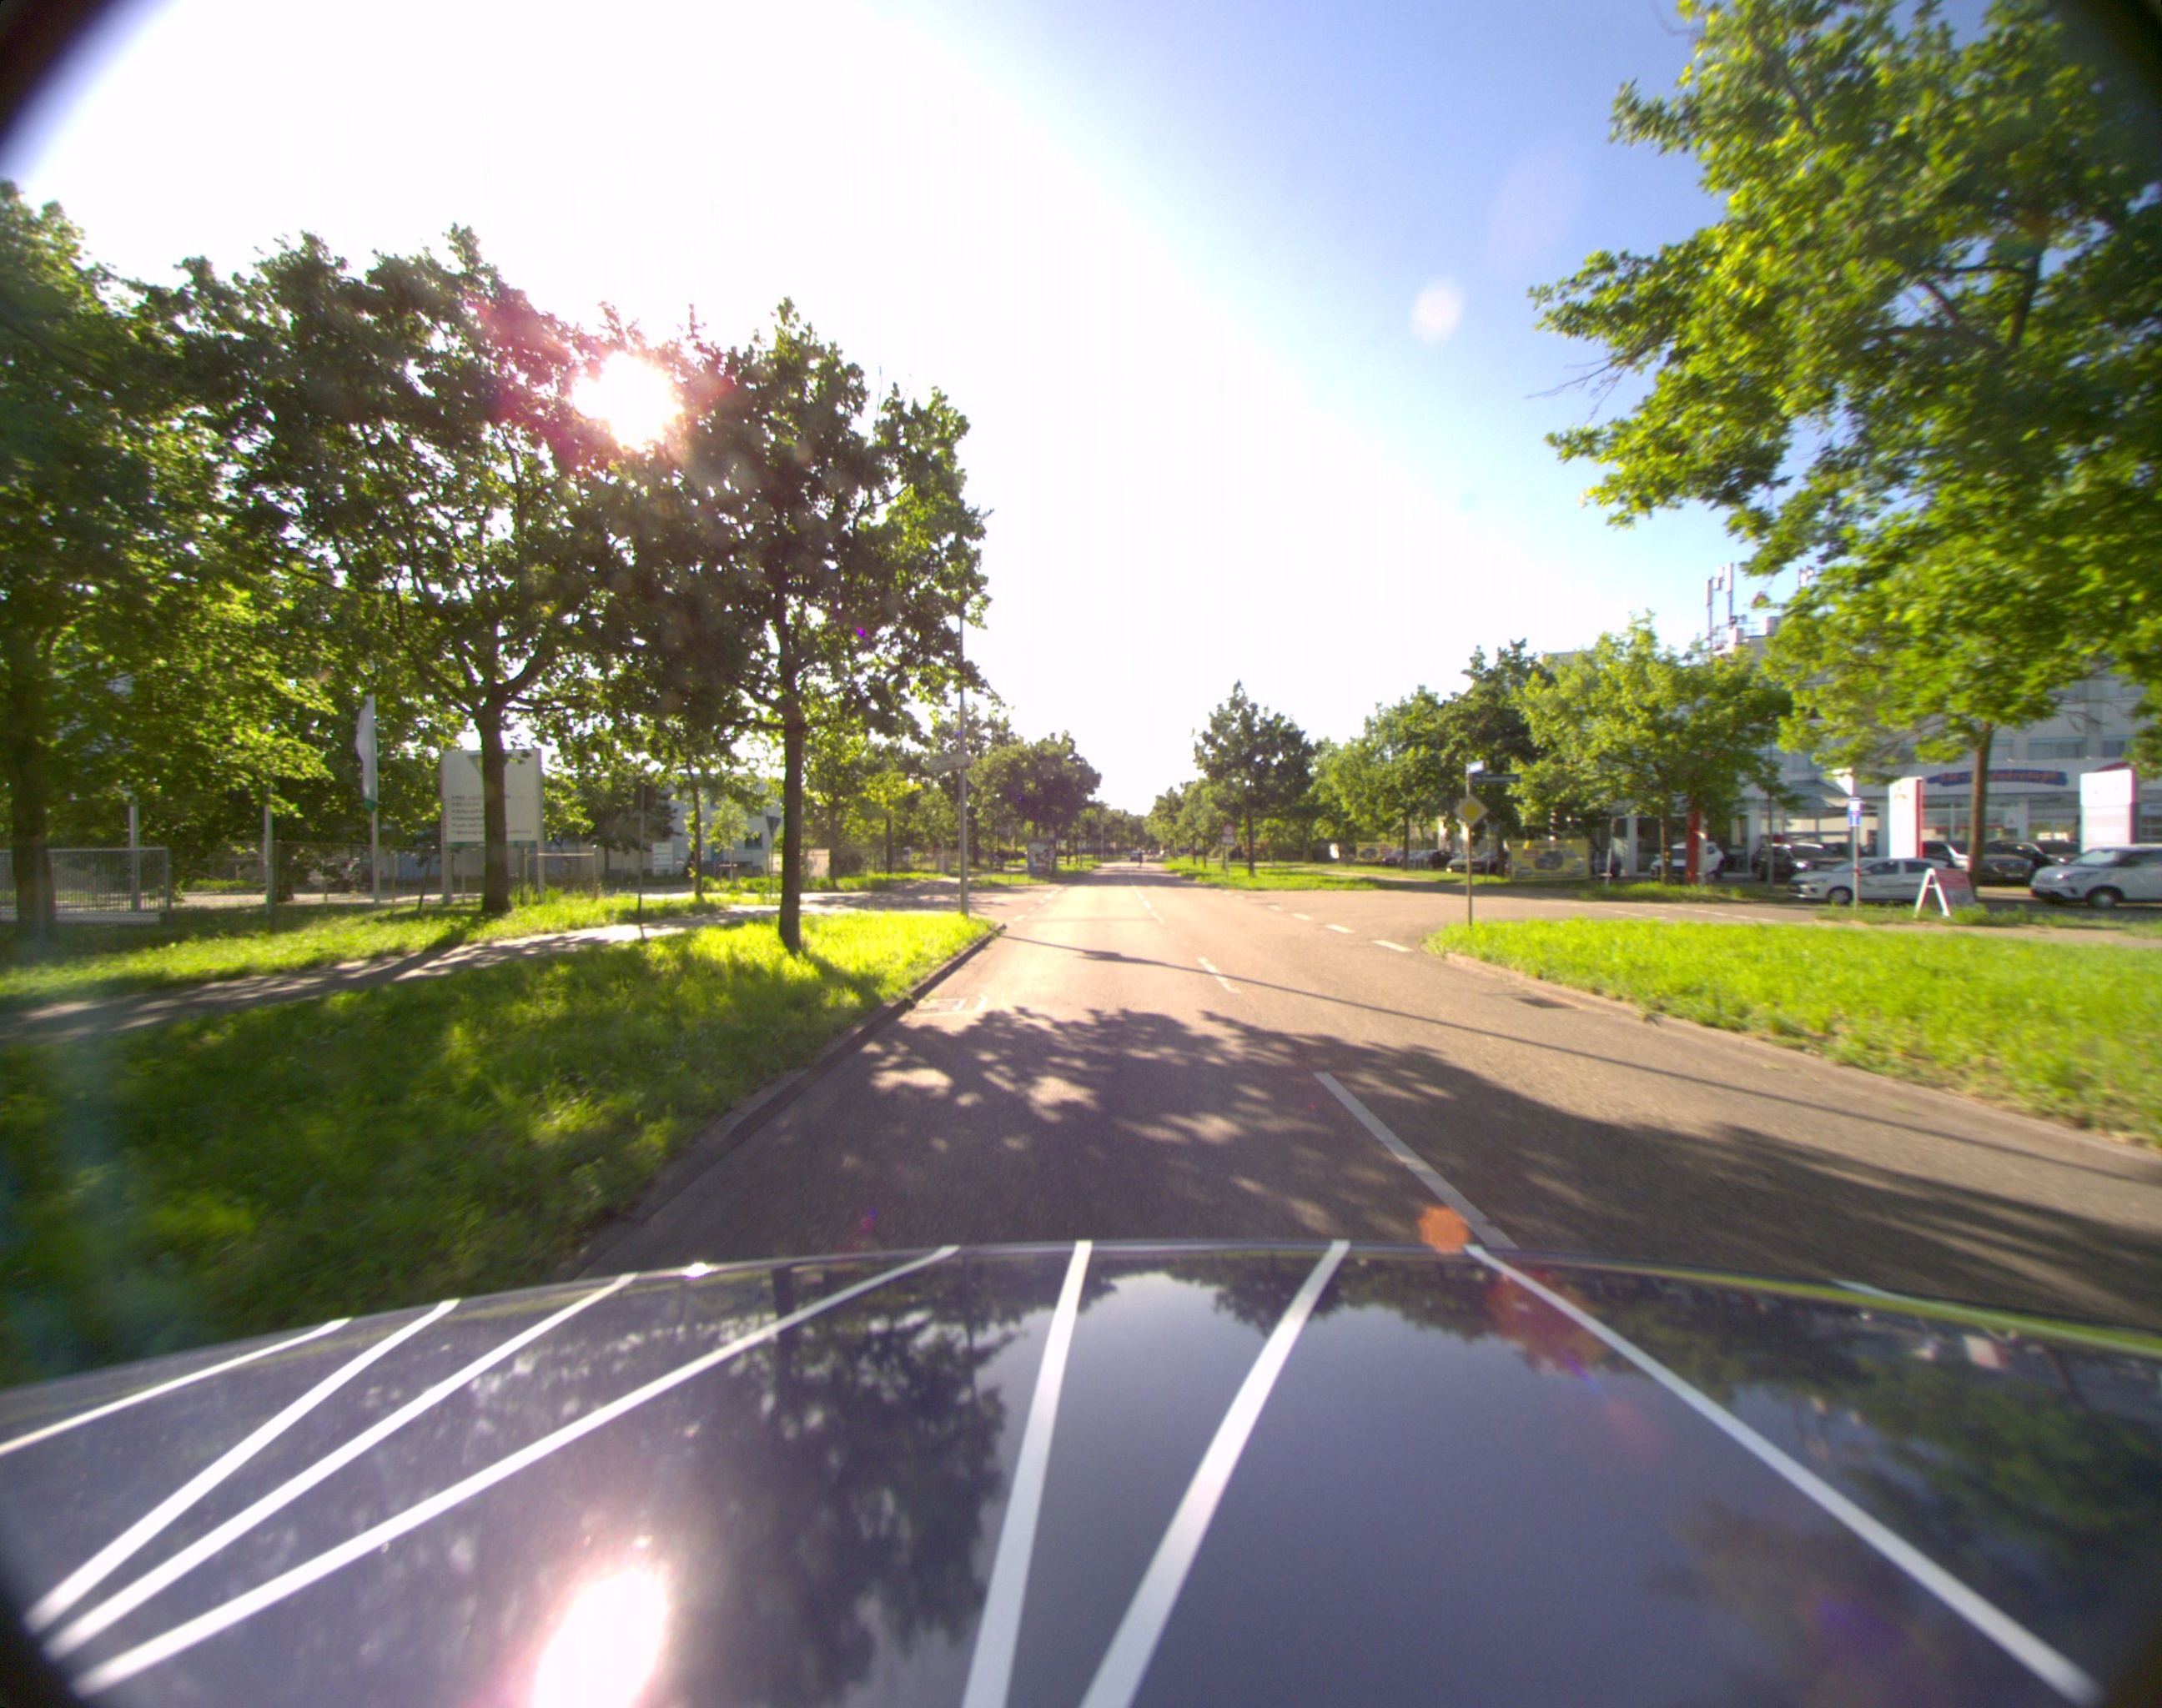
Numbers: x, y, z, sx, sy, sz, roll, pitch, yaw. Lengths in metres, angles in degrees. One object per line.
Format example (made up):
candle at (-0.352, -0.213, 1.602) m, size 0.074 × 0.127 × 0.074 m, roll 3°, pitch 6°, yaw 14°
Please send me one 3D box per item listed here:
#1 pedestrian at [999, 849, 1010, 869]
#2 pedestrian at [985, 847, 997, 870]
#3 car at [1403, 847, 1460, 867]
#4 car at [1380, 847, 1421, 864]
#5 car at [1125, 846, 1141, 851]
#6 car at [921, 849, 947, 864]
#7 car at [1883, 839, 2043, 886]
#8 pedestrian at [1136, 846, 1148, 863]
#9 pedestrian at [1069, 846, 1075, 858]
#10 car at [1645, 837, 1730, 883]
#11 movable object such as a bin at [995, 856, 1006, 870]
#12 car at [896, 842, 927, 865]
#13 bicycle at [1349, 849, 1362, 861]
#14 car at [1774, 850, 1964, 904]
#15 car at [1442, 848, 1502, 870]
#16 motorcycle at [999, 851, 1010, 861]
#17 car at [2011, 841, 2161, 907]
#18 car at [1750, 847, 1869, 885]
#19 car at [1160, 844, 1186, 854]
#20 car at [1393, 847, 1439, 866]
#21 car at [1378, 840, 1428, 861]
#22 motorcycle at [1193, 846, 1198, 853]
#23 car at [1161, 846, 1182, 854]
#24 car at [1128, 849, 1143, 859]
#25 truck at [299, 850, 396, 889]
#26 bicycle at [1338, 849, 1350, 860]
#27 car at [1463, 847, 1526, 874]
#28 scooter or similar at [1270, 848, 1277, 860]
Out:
pedestrian at (-6.085, 0.401, 60.155) m, size 0.727 × 1.594 × 0.867 m, roll 0°, pitch 1°, yaw 4°
pedestrian at (-7.046, 0.361, 59.445) m, size 0.727 × 1.745 × 0.867 m, roll 0°, pitch 1°, yaw 4°
car at (27.202, 0.233, 58.962) m, size 4.005 × 1.502 × 1.797 m, roll -1°, pitch 0°, yaw -25°
car at (27.771, 0.135, 65.955) m, size 4.008 × 1.440 × 1.796 m, roll -1°, pitch 1°, yaw -44°
car at (14.896, -1.511, 219.287) m, size 4.509 × 1.471 × 1.942 m, roll 0°, pitch 1°, yaw 8°
car at (-16.878, 0.299, 87.173) m, size 2.010 × 1.654 × 3.597 m, roll 0°, pitch 1°, yaw 4°
car at (36.933, 0.300, 32.042) m, size 1.996 × 1.802 × 4.877 m, roll 0°, pitch 1°, yaw 15°
pedestrian at (5.875, 0.066, 72.977) m, size 1.022 × 1.642 × 1.099 m, roll 0°, pitch 1°, yaw -4°
pedestrian at (-1.328, -0.254, 114.275) m, size 0.727 × 1.802 × 0.867 m, roll 0°, pitch 2°, yaw 4°
car at (28.253, 0.238, 35.337) m, size 4.868 × 2.002 × 1.994 m, roll -1°, pitch 1°, yaw -38°
movable object such as a bin at (-6.287, 0.668, 59.283) m, size 0.727 × 1.075 × 0.867 m, roll 1°, pitch 1°, yaw 4°
car at (-19.506, -0.078, 87.587) m, size 2.165 × 2.628 × 4.852 m, roll 0°, pitch 1°, yaw 4°
bicycle at (26.407, 0.087, 73.138) m, size 0.640 × 1.081 × 1.891 m, roll 0°, pitch 1°, yaw 4°
car at (25.138, 0.709, 24.406) m, size 3.747 × 1.608 × 1.966 m, roll 0°, pitch 1°, yaw 16°
car at (25.837, 0.302, 50.168) m, size 3.961 × 1.393 × 1.994 m, roll -1°, pitch 1°, yaw -38°
motorcycle at (-10.861, 0.274, 108.227) m, size 0.663 × 1.225 × 2.407 m, roll 0°, pitch 5°, yaw 16°
car at (31.700, 0.557, 22.476) m, size 5.015 × 1.895 × 1.944 m, roll 0°, pitch 1°, yaw 20°
car at (31.877, 0.487, 33.433) m, size 1.996 × 1.562 × 4.174 m, roll 0°, pitch 1°, yaw 14°
car at (17.110, -0.934, 141.521) m, size 4.637 × 1.549 × 2.192 m, roll -2°, pitch 0°, yaw 2°
car at (27.497, 0.200, 62.322) m, size 4.008 × 1.440 × 1.796 m, roll -1°, pitch 1°, yaw -39°
car at (29.860, -0.287, 70.624) m, size 4.023 × 1.773 × 2.028 m, roll -2°, pitch 0°, yaw 15°
motorcycle at (24.332, -1.050, 161.616) m, size 0.739 × 1.424 × 1.992 m, roll -4°, pitch 0°, yaw 7°
car at (19.379, -0.835, 162.395) m, size 4.421 × 1.547 × 2.089 m, roll -2°, pitch 1°, yaw 8°
car at (7.959, -0.040, 110.963) m, size 1.749 × 1.456 × 4.426 m, roll 0°, pitch 0°, yaw -2°
truck at (-43.242, 0.899, 44.795) m, size 5.142 × 2.101 × 2.002 m, roll 0°, pitch 3°, yaw 21°
bicycle at (25.883, 0.071, 74.891) m, size 0.640 × 1.081 × 1.891 m, roll 0°, pitch 1°, yaw 4°
car at (25.452, 0.364, 46.707) m, size 4.178 × 1.529 × 1.891 m, roll -1°, pitch 1°, yaw -38°
scooter or similar at (19.253, -0.002, 75.925) m, size 0.395 × 1.272 × 1.441 m, roll 0°, pitch 1°, yaw 5°
